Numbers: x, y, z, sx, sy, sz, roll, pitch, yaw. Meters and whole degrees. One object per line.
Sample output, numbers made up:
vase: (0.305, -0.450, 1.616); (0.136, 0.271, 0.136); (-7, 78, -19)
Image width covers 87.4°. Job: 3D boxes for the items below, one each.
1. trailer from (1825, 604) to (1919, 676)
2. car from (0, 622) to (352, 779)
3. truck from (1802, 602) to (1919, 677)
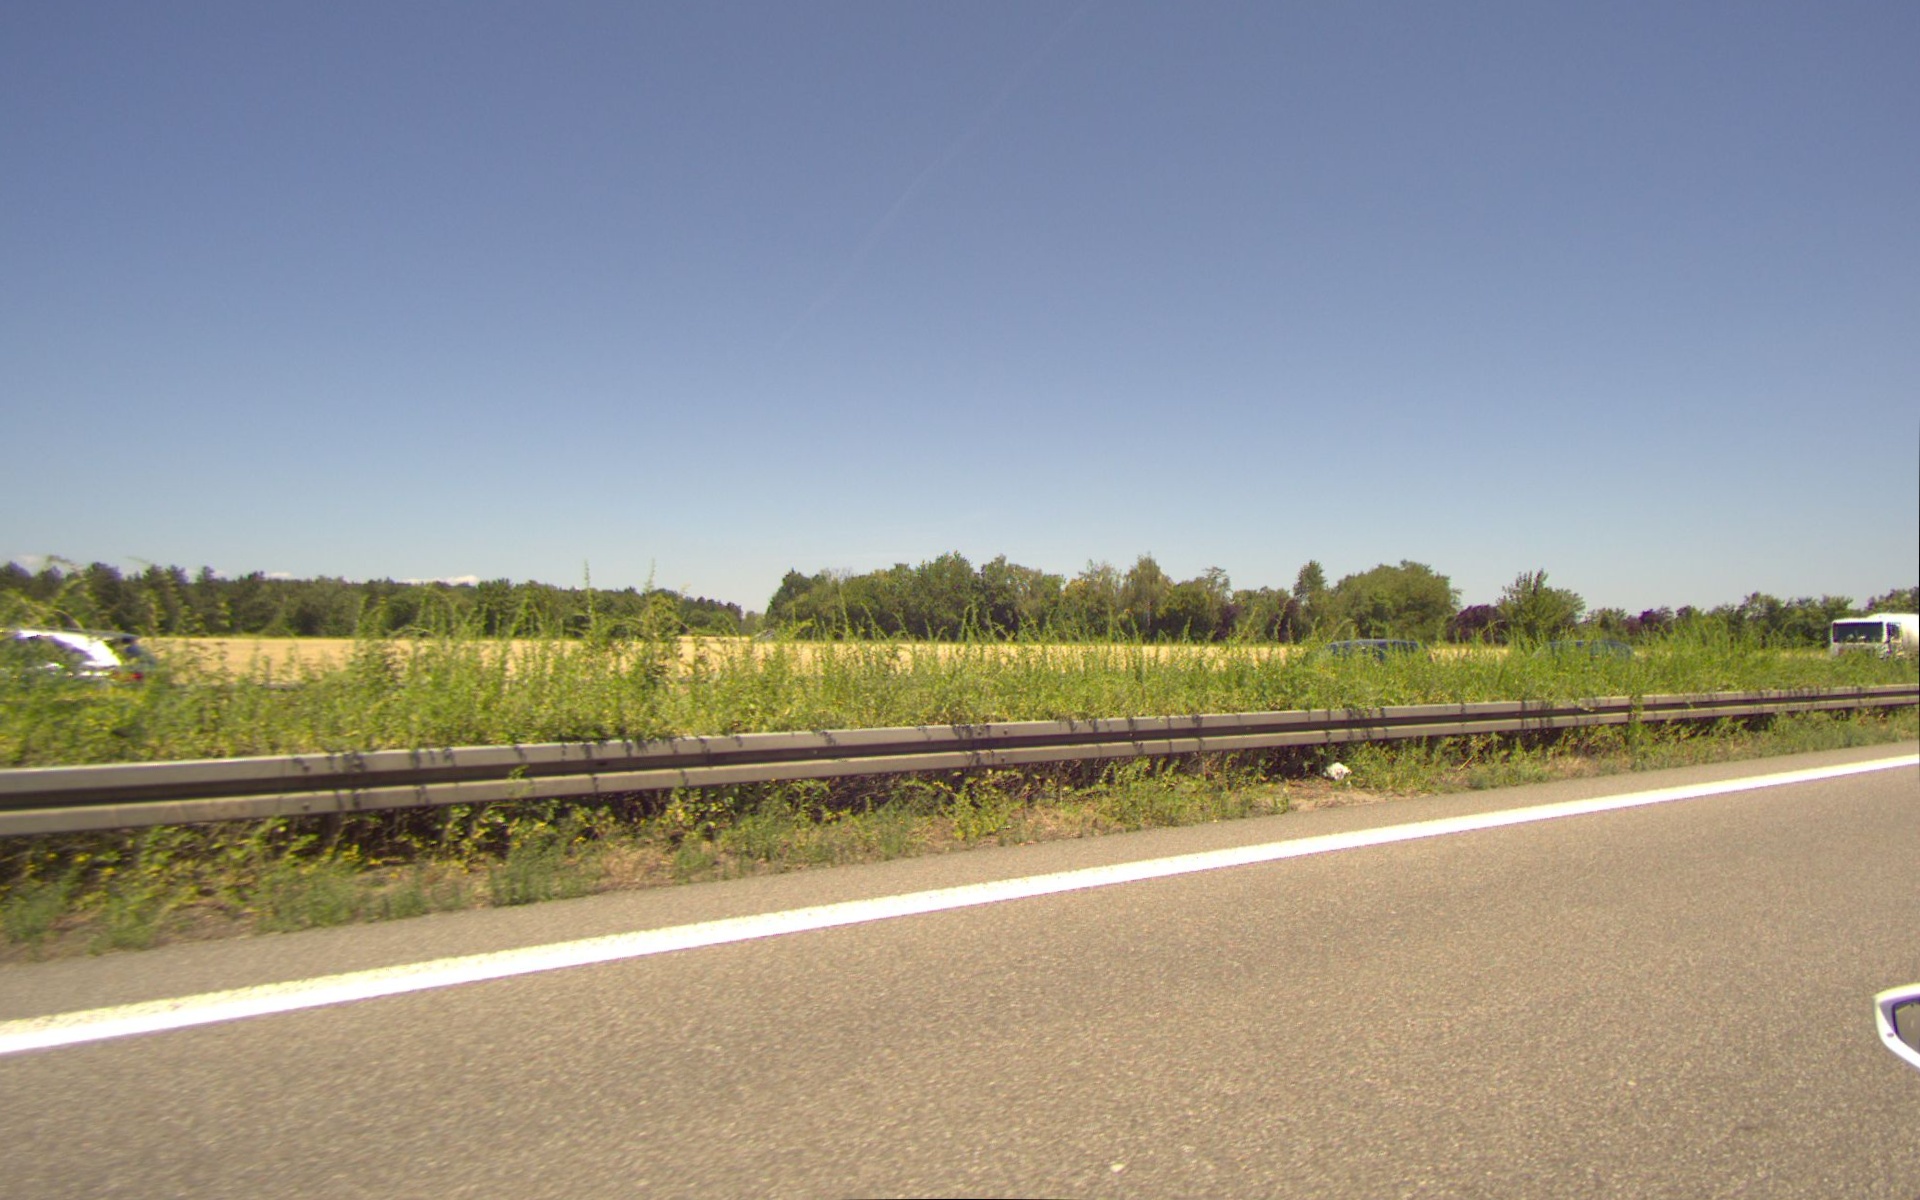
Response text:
trailer: (50.589, 2.129, 53.636); (11.635, 3.563, 3.211); (2, -2, -31)
car: (-9.854, 1.149, 12.371); (3.953, 1.706, 1.984); (1, -2, -30)
truck: (45.472, 1.978, 50.532); (5.372, 3.563, 3.211); (2, -1, -31)
